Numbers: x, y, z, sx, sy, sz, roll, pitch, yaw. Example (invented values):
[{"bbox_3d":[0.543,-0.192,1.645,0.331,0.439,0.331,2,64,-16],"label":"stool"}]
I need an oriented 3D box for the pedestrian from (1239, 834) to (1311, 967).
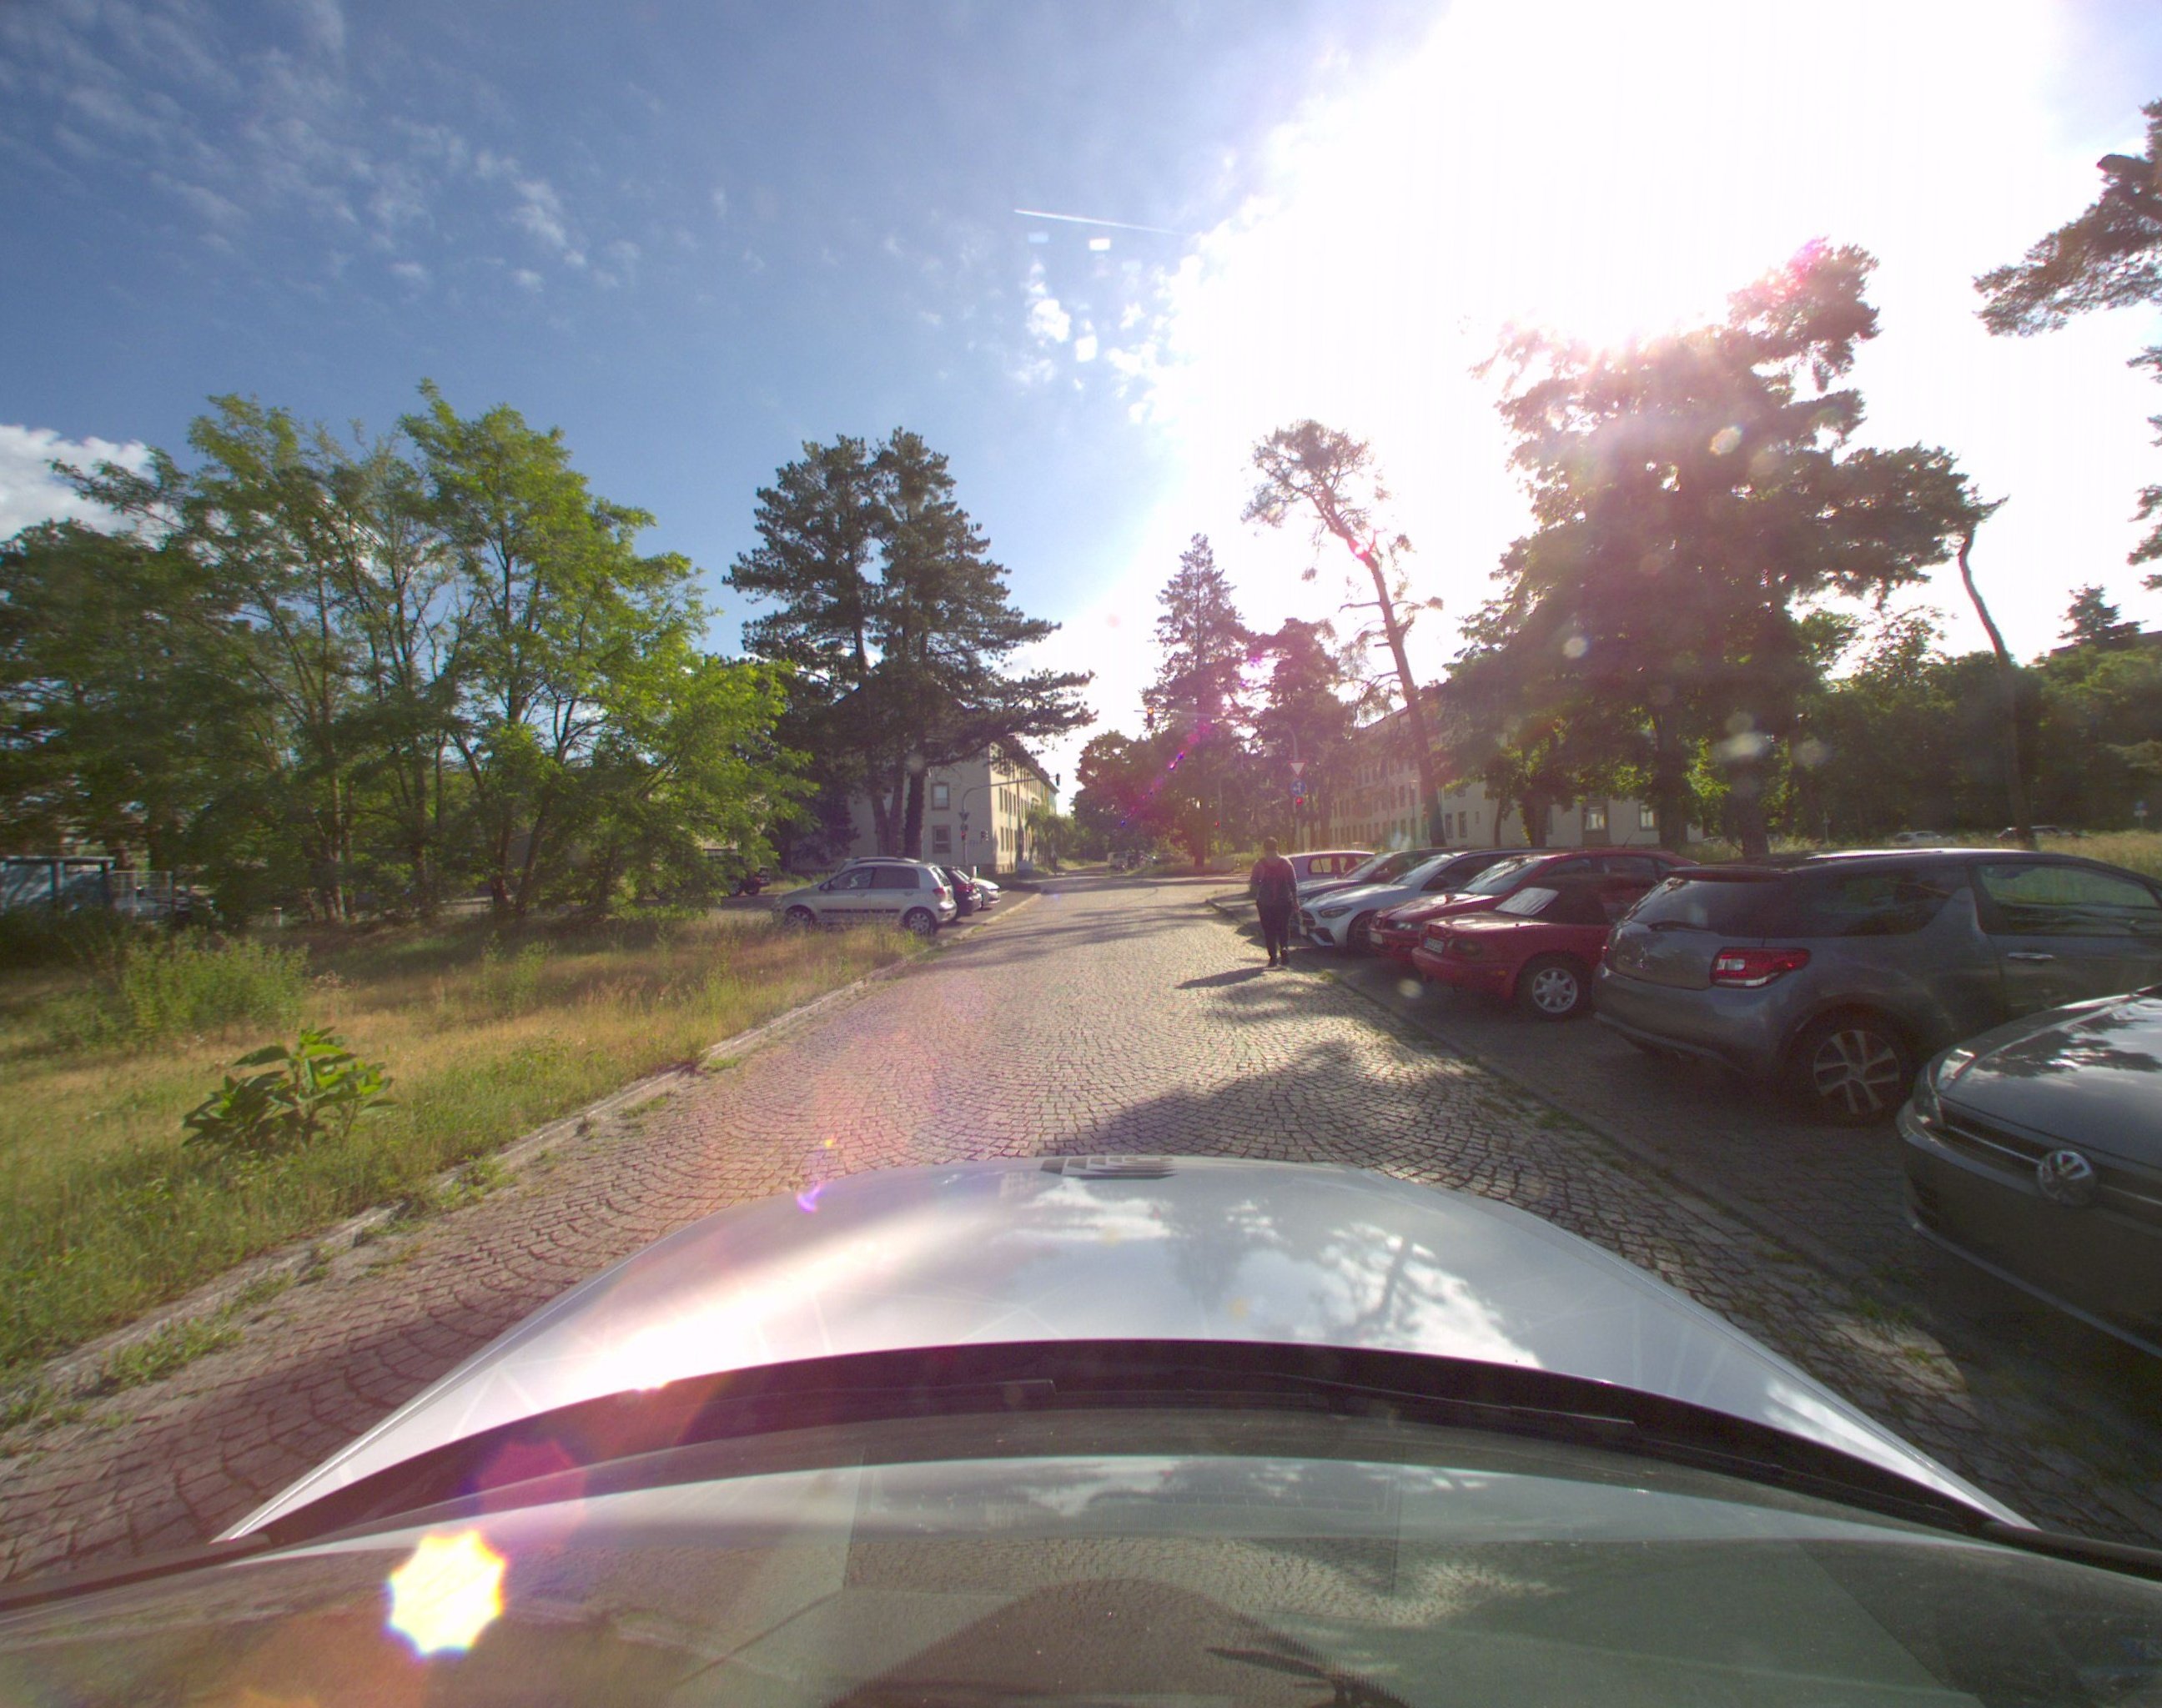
[{"bbox_3d":[2.638,0.611,11.154,0.750,1.725,0.829,3,0,2],"label":"pedestrian"}]

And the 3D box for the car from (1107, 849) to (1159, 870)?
[{"bbox_3d":[5.346,0.571,84.676,5.062,1.918,1.995,-2,0,-7],"label":"car"}]

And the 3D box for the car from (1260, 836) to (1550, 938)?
[{"bbox_3d":[5.877,0.573,15.181,4.604,1.455,1.870,-4,0,0],"label":"car"}]

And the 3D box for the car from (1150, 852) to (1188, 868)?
[{"bbox_3d":[9.545,0.622,88.507,3.737,1.580,1.738,-2,0,-5],"label":"car"}]

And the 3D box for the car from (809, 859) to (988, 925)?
[{"bbox_3d":[-4.380,0.886,19.930,3.923,1.445,1.691,1,0,1],"label":"car"}]

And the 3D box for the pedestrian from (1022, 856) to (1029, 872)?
[{"bbox_3d":[-5.556,0.985,81.198,0.605,1.560,0.544,-2,0,-4],"label":"pedestrian"}]

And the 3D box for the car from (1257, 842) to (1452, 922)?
[{"bbox_3d":[5.840,0.581,17.717,3.658,1.443,1.666,-4,0,2],"label":"car"}]

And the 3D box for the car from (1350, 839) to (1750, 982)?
[{"bbox_3d":[5.606,0.648,10.116,3.964,1.448,1.656,-3,0,2],"label":"car"}]

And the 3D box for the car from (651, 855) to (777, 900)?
[{"bbox_3d":[-14.800,0.921,32.985,4.126,1.608,2.012,-2,0,3],"label":"car"}]

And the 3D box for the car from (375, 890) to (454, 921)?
[{"bbox_3d":[-45.301,3.458,55.462,1.856,1.778,4.008,-2,0,5],"label":"car"}]

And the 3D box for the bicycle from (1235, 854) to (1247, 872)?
[{"bbox_3d":[10.744,0.605,54.627,0.717,1.115,2.592,-2,0,12],"label":"bicycle"}]

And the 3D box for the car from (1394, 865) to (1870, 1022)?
[{"bbox_3d":[4.994,0.784,7.746,3.446,1.242,1.538,-2,0,3],"label":"car"}]

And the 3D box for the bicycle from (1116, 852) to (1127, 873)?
[{"bbox_3d":[3.158,0.672,63.370,0.750,1.580,2.538,-2,0,2],"label":"bicycle"}]

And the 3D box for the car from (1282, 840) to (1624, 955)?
[{"bbox_3d":[5.509,0.623,12.493,4.383,1.388,1.789,-3,0,1],"label":"car"}]

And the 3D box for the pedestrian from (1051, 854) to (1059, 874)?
[{"bbox_3d":[-2.224,0.858,69.914,0.604,1.752,0.630,-2,0,2],"label":"pedestrian"}]

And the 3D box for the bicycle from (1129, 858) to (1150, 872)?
[{"bbox_3d":[4.842,0.921,67.313,1.722,1.112,0.484,-2,0,-1],"label":"bicycle"}]

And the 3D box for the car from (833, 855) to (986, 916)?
[{"bbox_3d":[-4.710,0.836,22.716,3.865,1.615,1.661,0,0,1],"label":"car"}]

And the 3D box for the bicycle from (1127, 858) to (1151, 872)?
[{"bbox_3d":[4.748,0.921,66.771,1.829,1.112,0.495,-2,0,-1],"label":"bicycle"}]

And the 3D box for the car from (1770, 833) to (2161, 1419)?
[{"bbox_3d":[4.634,0.619,2.296,3.764,1.450,1.759,-3,0,4],"label":"car"}]

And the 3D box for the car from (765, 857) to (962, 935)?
[{"bbox_3d":[-4.506,0.857,17.267,3.673,1.527,1.699,1,0,0],"label":"car"}]

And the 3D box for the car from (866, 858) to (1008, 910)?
[{"bbox_3d":[-4.409,0.903,25.325,3.965,1.496,1.776,0,0,7],"label":"car"}]

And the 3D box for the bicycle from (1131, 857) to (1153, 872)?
[{"bbox_3d":[5.109,0.878,67.986,1.722,1.164,0.561,-2,0,-1],"label":"bicycle"}]

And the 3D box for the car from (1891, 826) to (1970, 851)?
[{"bbox_3d":[60.446,-1.081,58.021,3.618,1.671,1.769,-2,0,5],"label":"car"}]

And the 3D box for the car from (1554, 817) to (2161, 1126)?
[{"bbox_3d":[5.305,0.600,5.098,3.648,1.455,1.668,-4,0,2],"label":"car"}]
